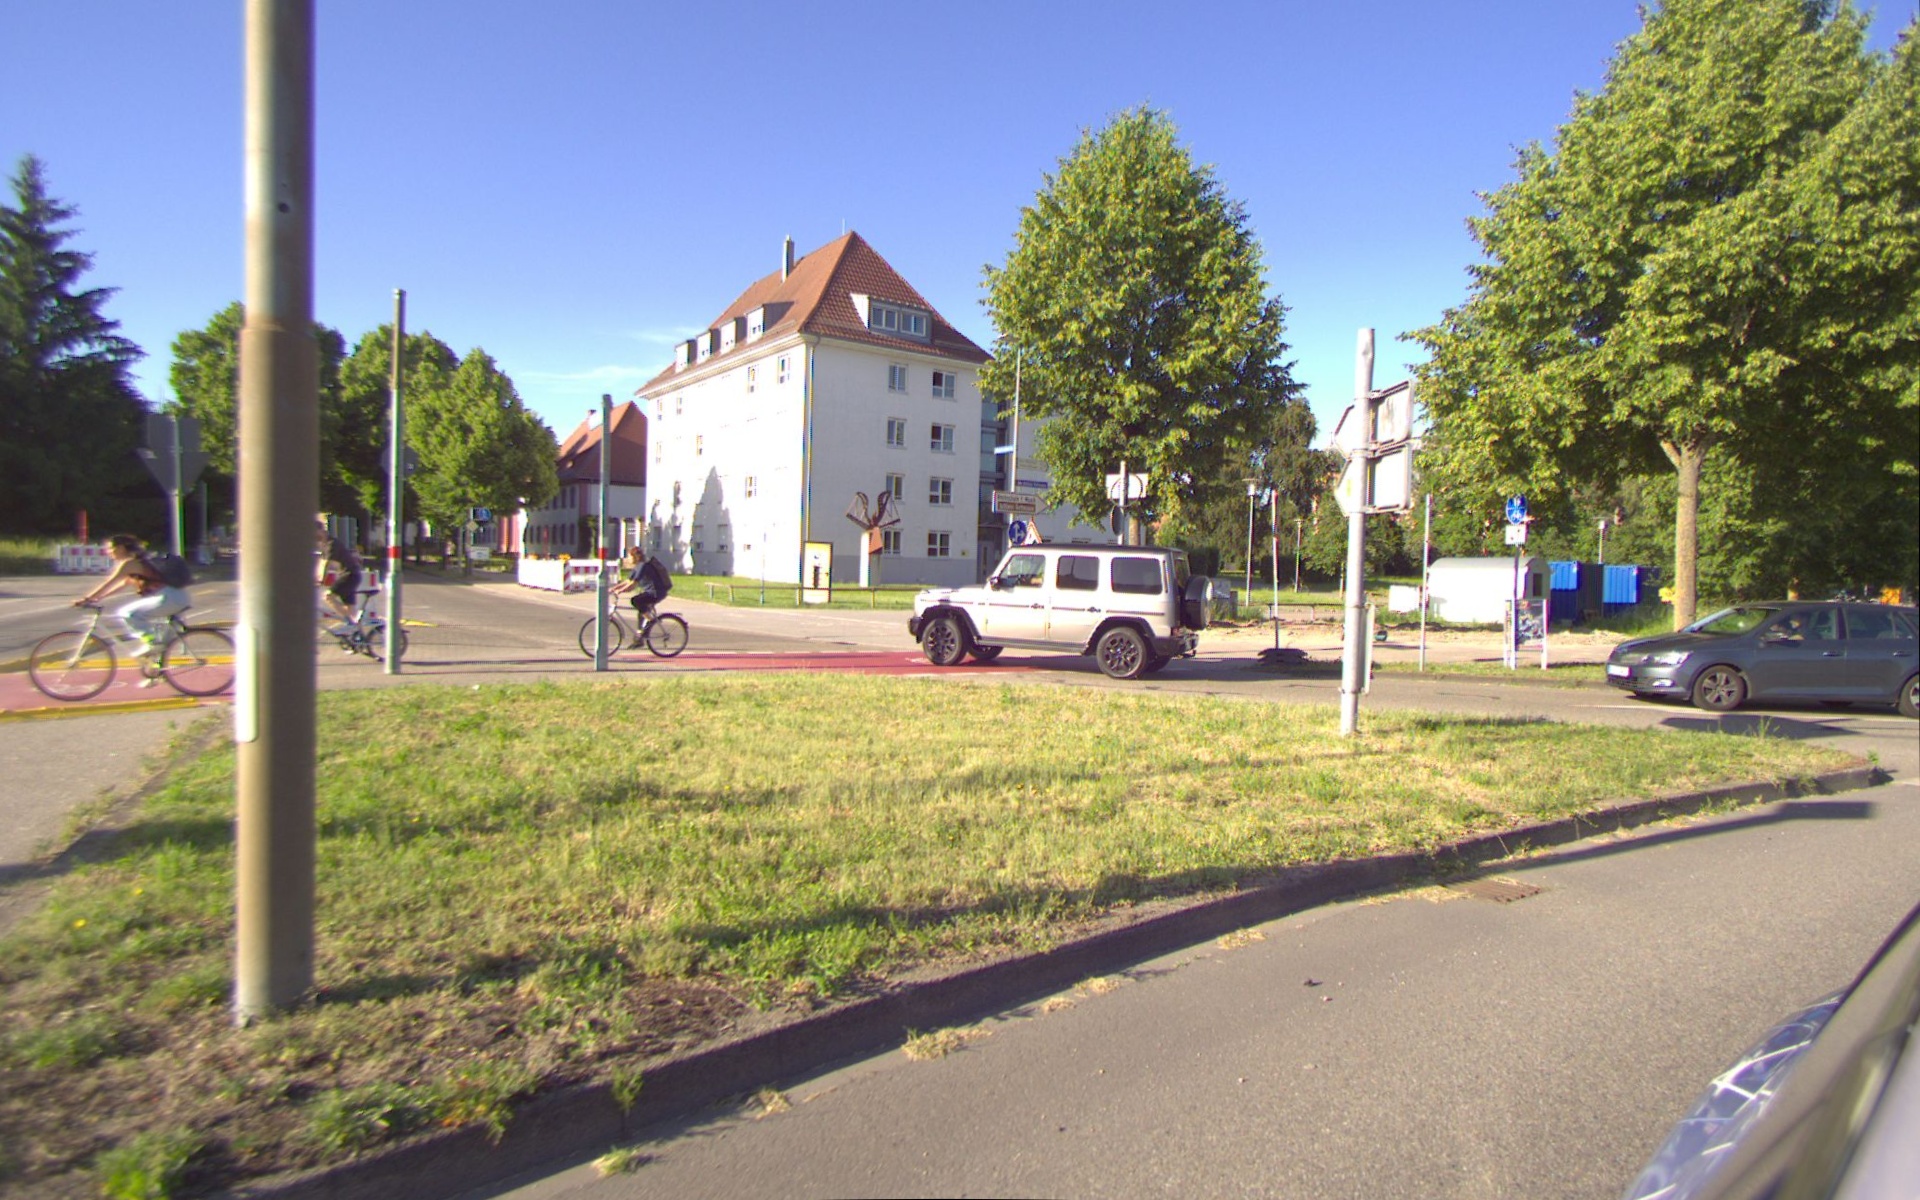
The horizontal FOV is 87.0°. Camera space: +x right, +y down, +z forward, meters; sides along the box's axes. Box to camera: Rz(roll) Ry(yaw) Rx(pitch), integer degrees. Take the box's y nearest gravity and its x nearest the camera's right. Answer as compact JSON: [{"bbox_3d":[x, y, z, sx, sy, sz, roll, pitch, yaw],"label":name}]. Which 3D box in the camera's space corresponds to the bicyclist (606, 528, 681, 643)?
[{"bbox_3d":[-4.800,-0.209,15.343,0.882,1.686,0.660,2,0,-36],"label":"bicyclist"}]

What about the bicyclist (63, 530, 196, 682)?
[{"bbox_3d":[-8.053,0.044,9.858,0.917,1.402,0.661,0,0,-32],"label":"bicyclist"}]

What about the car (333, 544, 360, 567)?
[{"bbox_3d":[-54.928,-3.931,90.631,1.961,1.895,4.002,2,0,-32],"label":"car"}]

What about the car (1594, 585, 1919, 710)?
[{"bbox_3d":[11.052,0.582,13.411,4.080,1.454,1.717,2,1,6],"label":"car"}]

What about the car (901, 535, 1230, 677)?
[{"bbox_3d":[1.636,0.010,15.741,4.700,1.920,1.988,2,1,24],"label":"car"}]

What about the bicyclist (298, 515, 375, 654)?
[{"bbox_3d":[-8.145,-0.203,13.225,0.797,1.751,0.654,0,1,-37],"label":"bicyclist"}]

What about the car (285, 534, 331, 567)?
[{"bbox_3d":[-40.230,-3.006,62.493,1.959,1.922,4.007,1,2,-27],"label":"car"}]

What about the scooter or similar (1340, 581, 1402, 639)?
[{"bbox_3d":[9.122,0.213,22.463,1.238,1.263,0.445,1,0,-13],"label":"scooter or similar"}]

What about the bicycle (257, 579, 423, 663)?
[{"bbox_3d":[-8.108,0.269,13.272,1.790,1.040,0.660,1,0,-37],"label":"bicycle"}]

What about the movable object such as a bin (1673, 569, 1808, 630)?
[{"bbox_3d":[38.000,-0.068,49.359,5.032,2.824,1.968,2,0,44],"label":"movable object such as a bin"}]

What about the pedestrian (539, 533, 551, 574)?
[{"bbox_3d":[-20.848,-2.335,50.850,0.462,2.038,0.456,1,1,-26],"label":"pedestrian"}]

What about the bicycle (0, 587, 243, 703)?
[{"bbox_3d":[-8.098,0.398,9.841,1.788,1.040,0.661,0,1,-32],"label":"bicycle"}]

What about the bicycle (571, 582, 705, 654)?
[{"bbox_3d":[-4.858,0.269,15.312,1.789,1.040,0.660,1,0,-35],"label":"bicycle"}]
